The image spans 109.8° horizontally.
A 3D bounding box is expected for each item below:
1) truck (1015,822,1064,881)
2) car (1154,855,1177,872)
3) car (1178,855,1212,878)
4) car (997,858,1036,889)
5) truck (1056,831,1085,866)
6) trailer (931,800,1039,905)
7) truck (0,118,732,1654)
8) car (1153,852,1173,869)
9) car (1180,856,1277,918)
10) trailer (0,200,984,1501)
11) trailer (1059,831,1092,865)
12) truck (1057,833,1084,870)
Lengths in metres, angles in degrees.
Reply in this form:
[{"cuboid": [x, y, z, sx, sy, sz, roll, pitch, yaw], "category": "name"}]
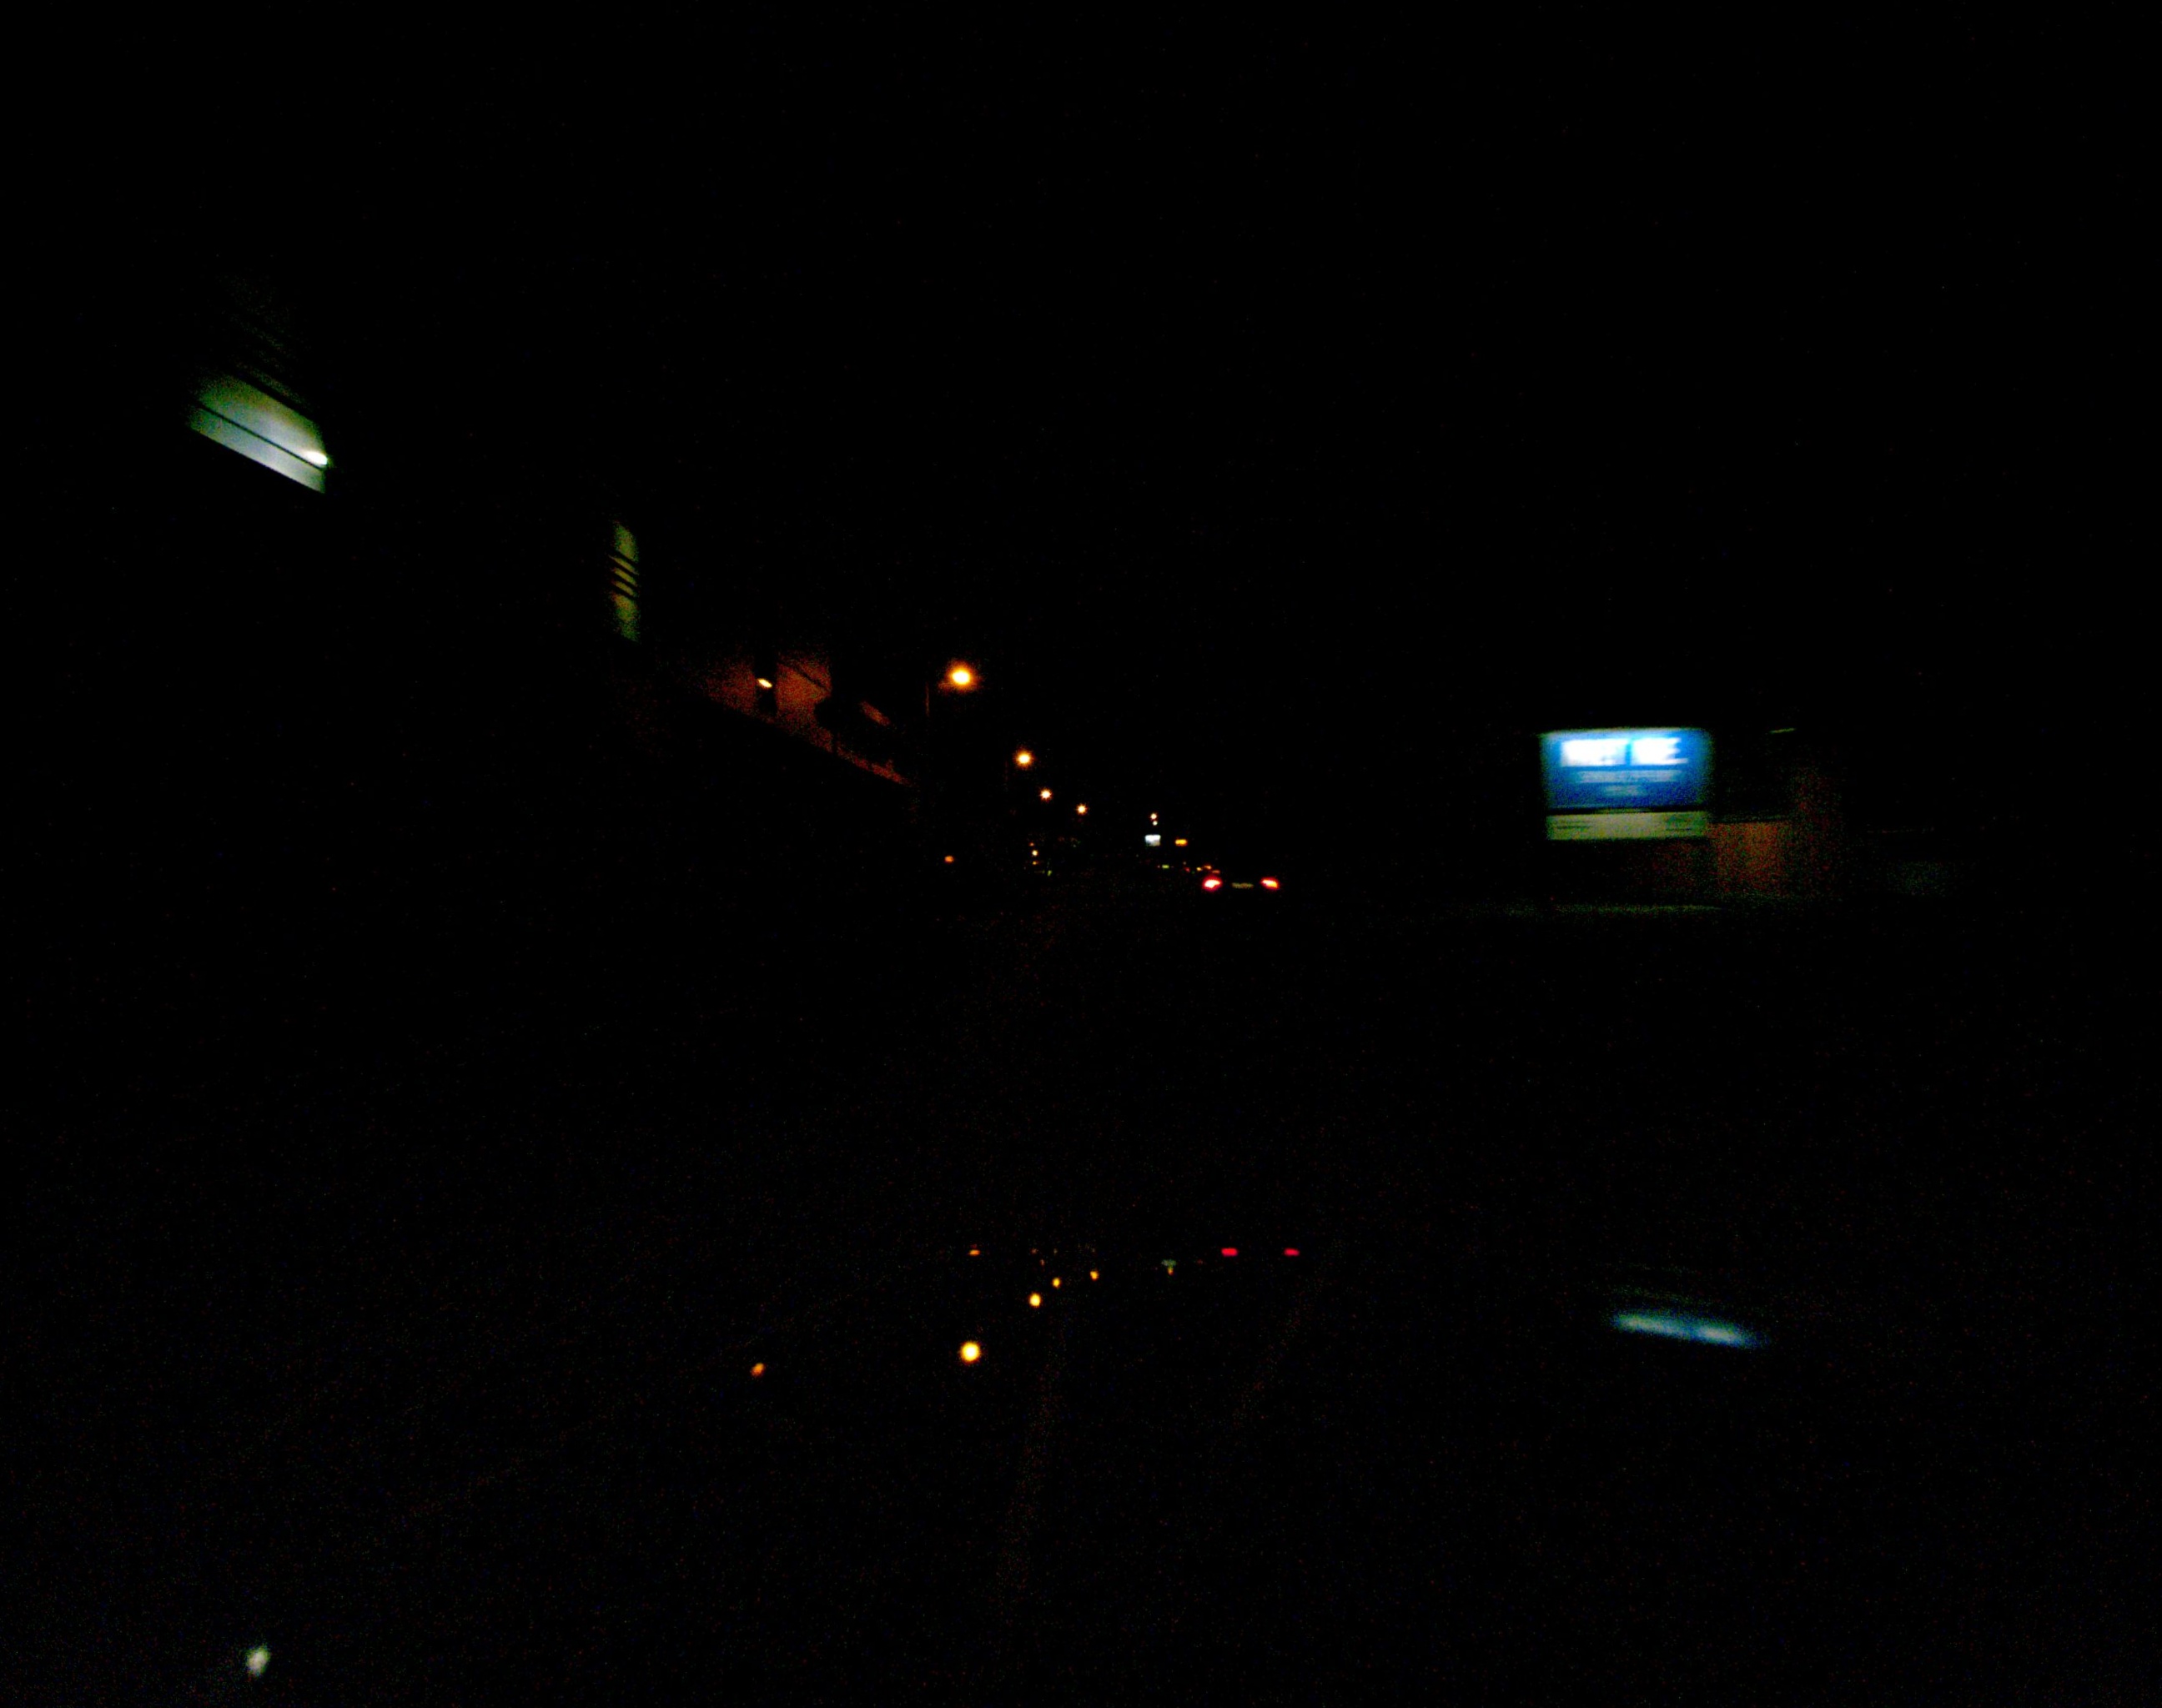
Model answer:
[{"cuboid": [-2.920, -0.106, 56.916, 2.797, 3.946, 9.822, -2, 0, 1], "category": "truck"}, {"cuboid": [7.659, 0.850, 69.268, 1.690, 1.357, 3.879, -3, 0, 2], "category": "car"}, {"cuboid": [7.546, 0.797, 50.502, 1.760, 1.382, 4.309, -1, 0, 3], "category": "car"}, {"cuboid": [-3.467, 1.024, 41.406, 1.685, 1.551, 3.476, -1, 0, 2], "category": "car"}, {"cuboid": [-1.326, -0.720, 100.667, 3.072, 4.449, 5.636, -2, 1, 5], "category": "truck"}, {"cuboid": [-3.479, -0.032, 29.803, 2.885, 3.503, 8.284, -1, 0, 2], "category": "trailer"}, {"cuboid": [-3.996, 0.076, 2.737, 2.772, 3.742, 5.228, -3, 1, 2], "category": "truck"}, {"cuboid": [8.113, 0.632, 75.122, 1.590, 1.591, 3.781, -3, 0, 2], "category": "car"}, {"cuboid": [3.774, 0.794, 20.179, 1.824, 1.429, 4.398, -1, 0, 2], "category": "car"}, {"cuboid": [-3.822, 0.016, 9.549, 2.772, 3.742, 14.656, -3, 0, 2], "category": "trailer"}, {"cuboid": [-0.652, -0.832, 107.566, 3.072, 4.449, 13.415, -2, 0, 5], "category": "trailer"}, {"cuboid": [-1.130, -0.193, 88.979, 2.659, 3.850, 10.234, -3, -2, 2], "category": "truck"}]
